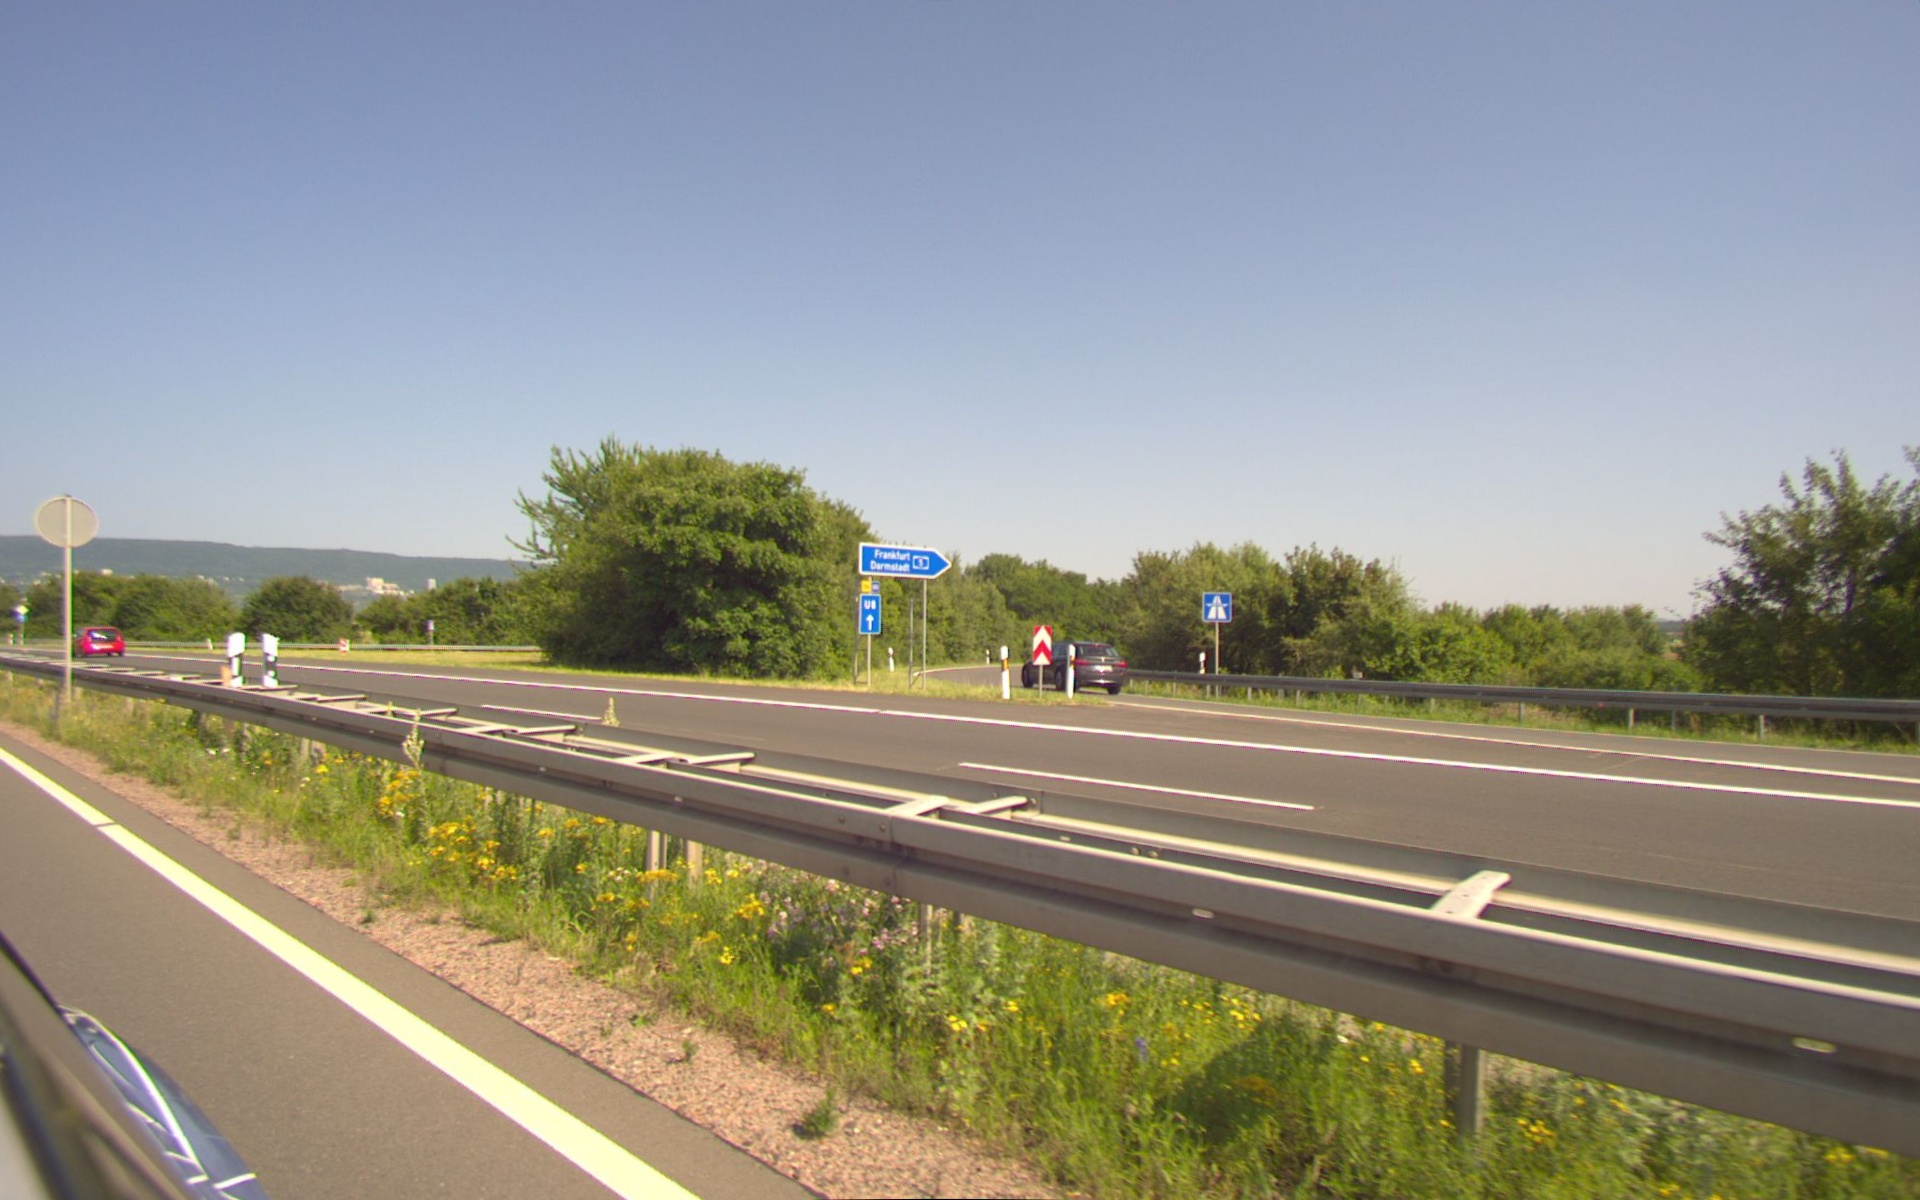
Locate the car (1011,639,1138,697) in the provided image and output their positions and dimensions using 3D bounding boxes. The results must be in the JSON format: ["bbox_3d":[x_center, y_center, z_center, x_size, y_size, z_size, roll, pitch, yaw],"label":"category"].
[{"bbox_3d":[3.258,1.990,29.938,1.570,1.505,4.829,5,-5,-22],"label":"car"}]

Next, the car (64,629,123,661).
[{"bbox_3d":[-42.623,2.206,49.778,3.765,1.468,1.612,-2,-3,40],"label":"car"}]
